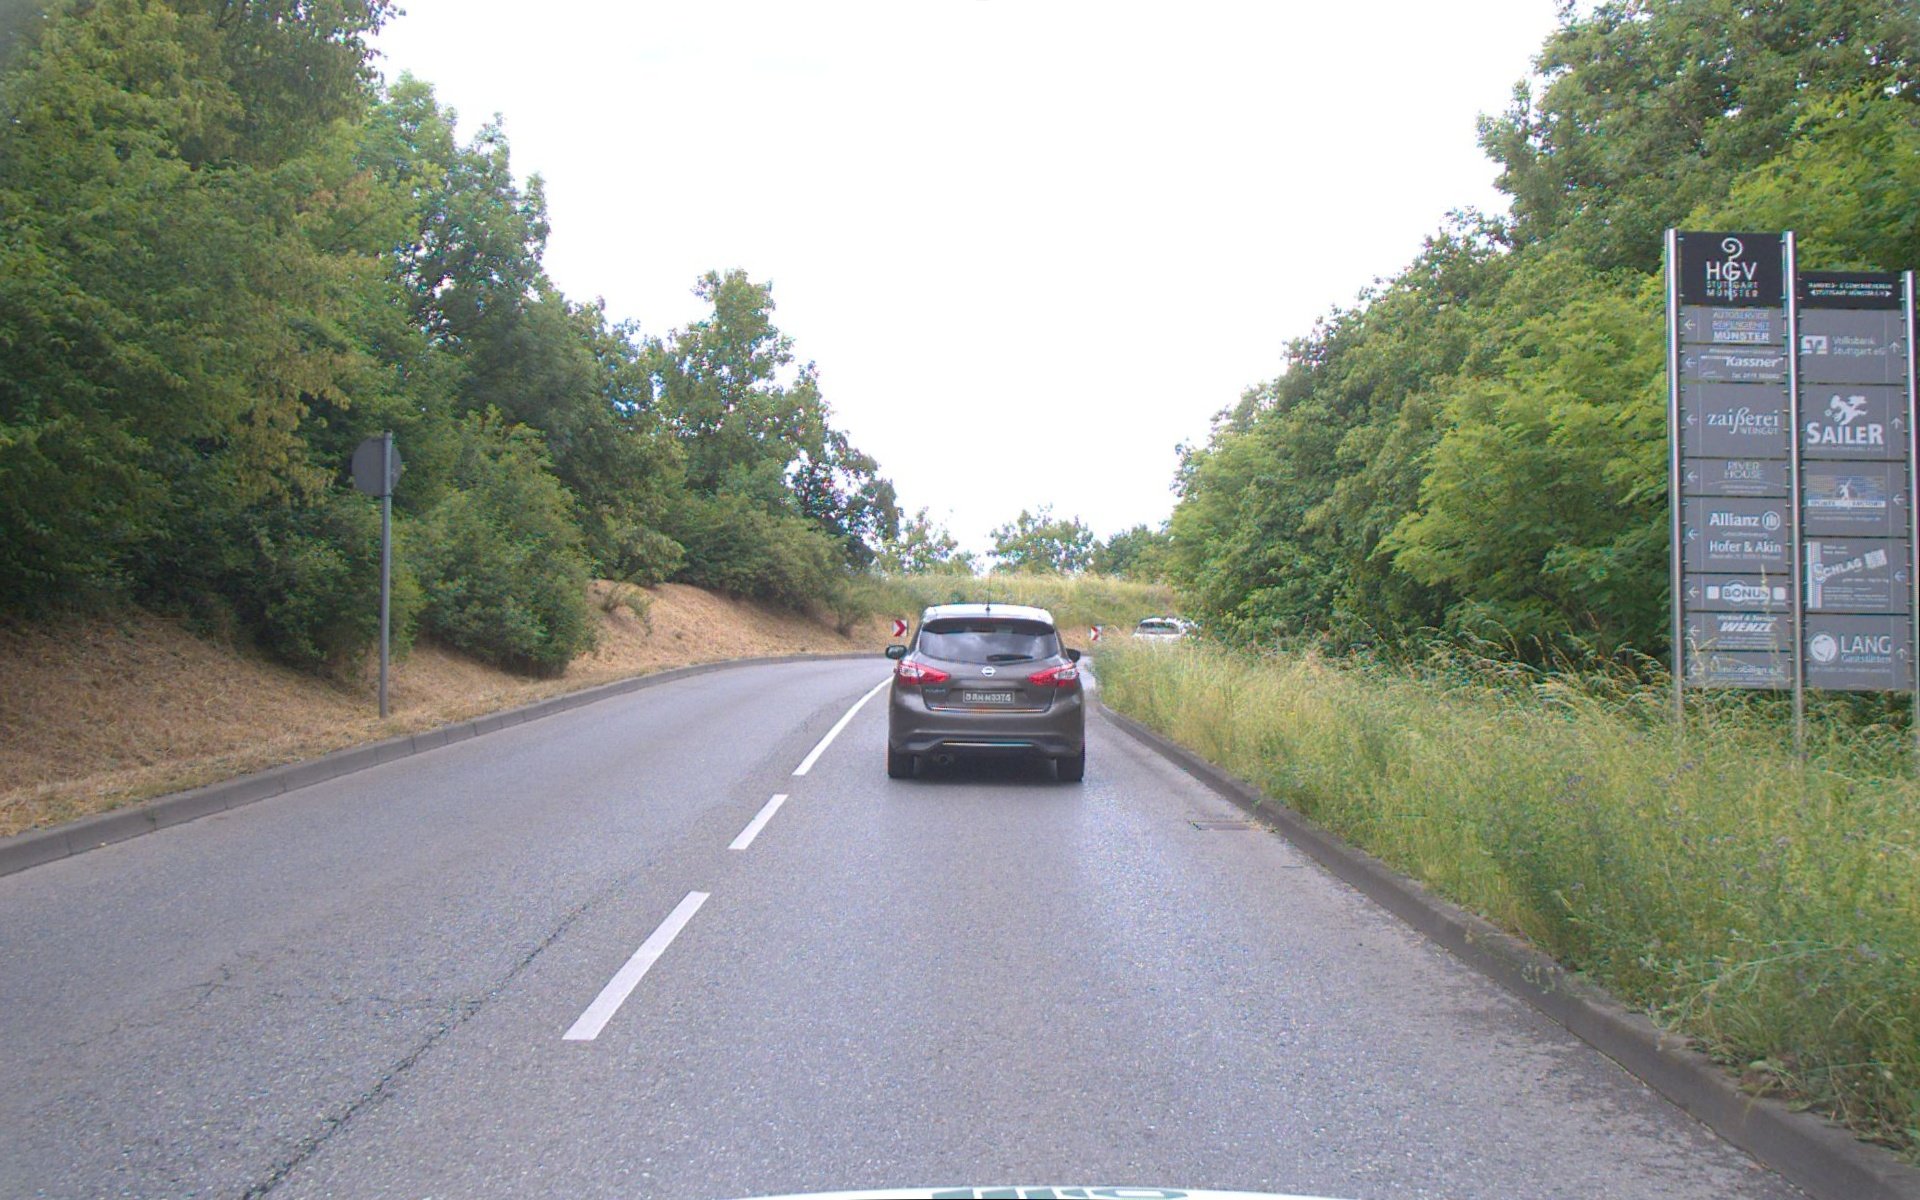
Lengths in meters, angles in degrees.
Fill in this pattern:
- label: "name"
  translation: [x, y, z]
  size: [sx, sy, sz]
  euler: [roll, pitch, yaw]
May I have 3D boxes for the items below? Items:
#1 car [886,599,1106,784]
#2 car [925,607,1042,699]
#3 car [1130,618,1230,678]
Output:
- label: "car"
  translation: [0.214, 0.766, 15.823]
  size: [1.808, 1.519, 3.998]
  euler: [1, 0, -3]
- label: "car"
  translation: [0.364, 0.926, 30.617]
  size: [1.808, 1.519, 4.224]
  euler: [-1, 0, -4]
- label: "car"
  translation: [6.060, 1.291, 45.239]
  size: [1.687, 1.521, 3.573]
  euler: [-1, 0, 26]
